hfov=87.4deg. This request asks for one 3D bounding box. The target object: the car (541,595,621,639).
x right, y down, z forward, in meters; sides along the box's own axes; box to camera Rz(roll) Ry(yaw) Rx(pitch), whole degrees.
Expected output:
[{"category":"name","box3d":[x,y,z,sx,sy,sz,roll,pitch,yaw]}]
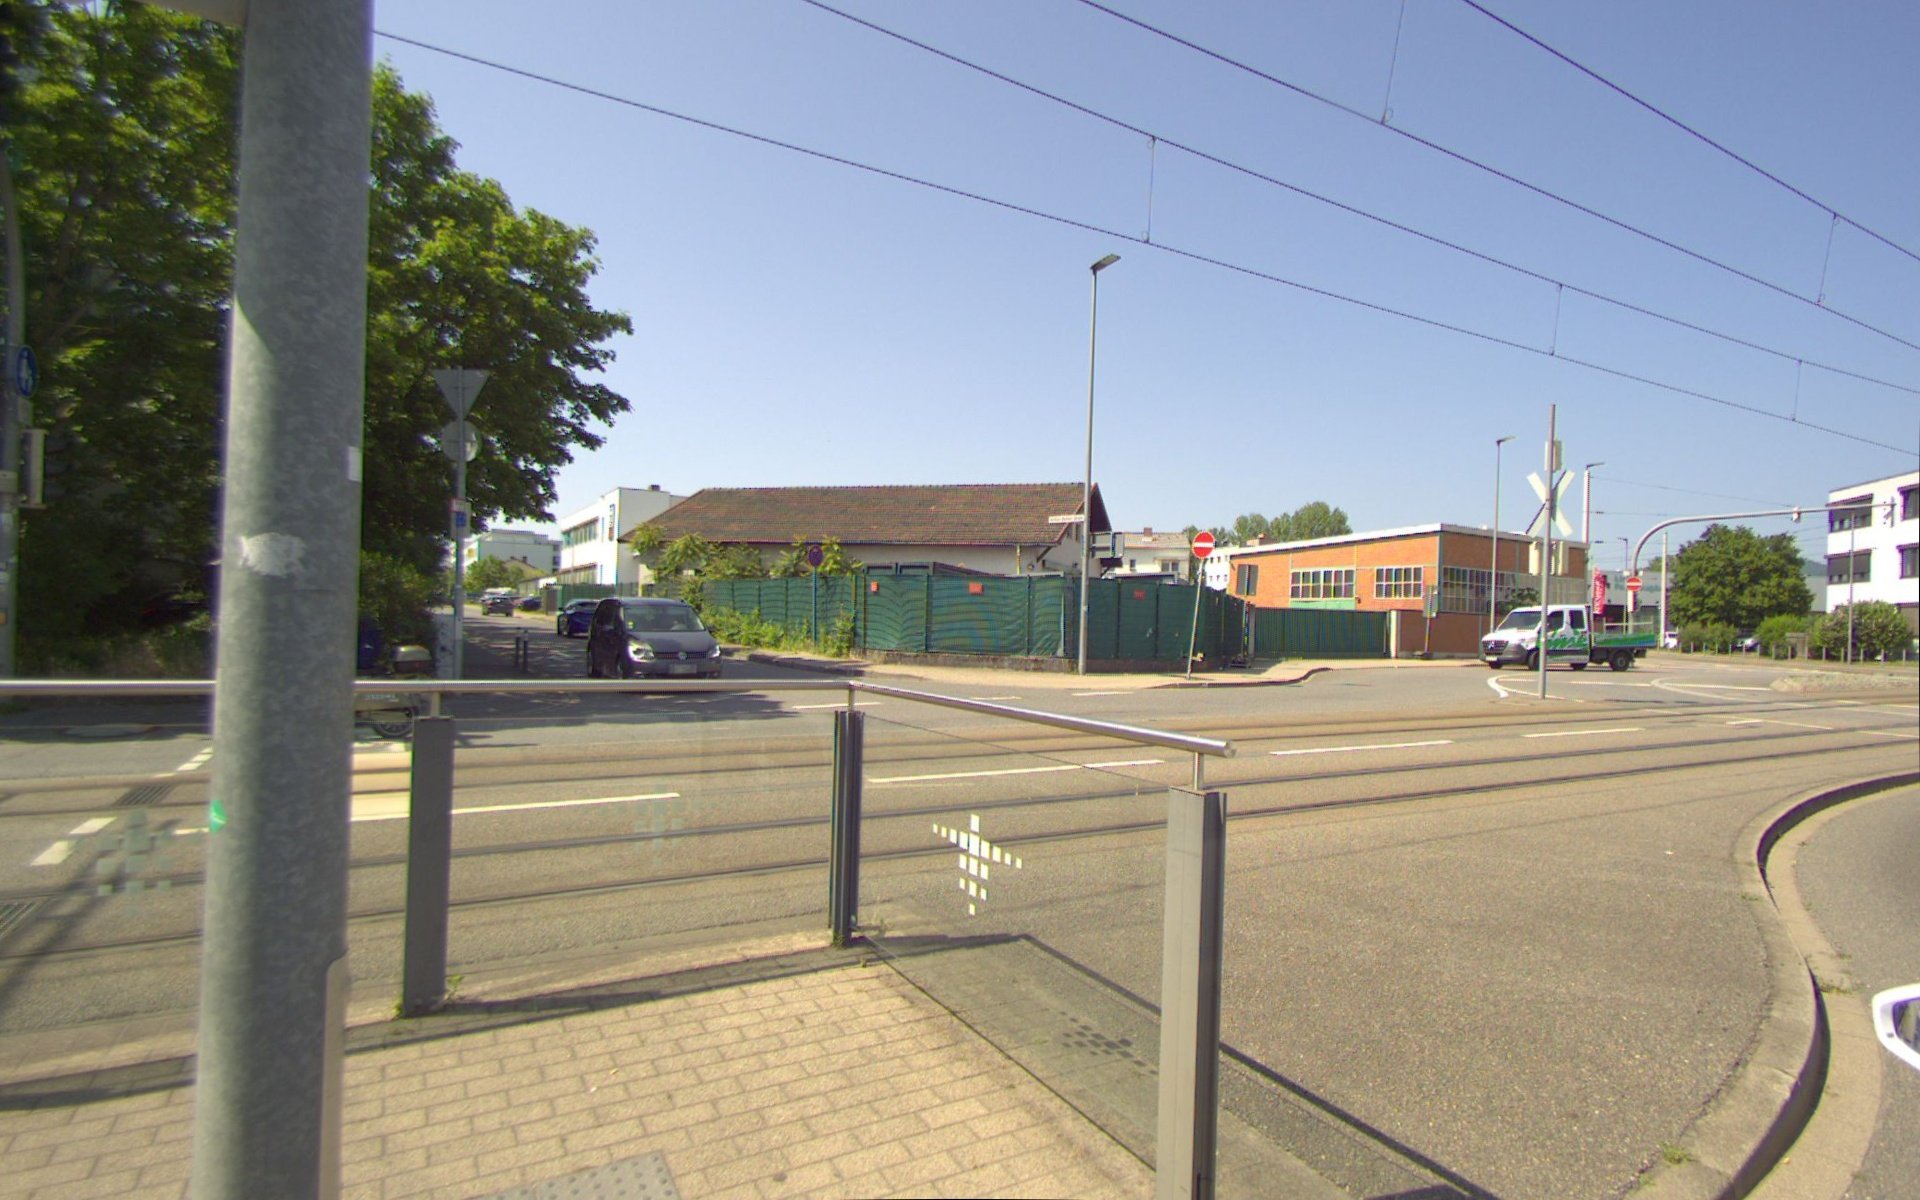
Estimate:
[{"category":"car","box3d":[-14.492,0.636,38.304,1.790,1.557,4.118,2,-1,-37]}]

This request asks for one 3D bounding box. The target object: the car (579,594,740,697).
[{"category":"car","box3d":[-5.698,0.758,18.675,1.911,1.604,4.157,2,0,-30]}]

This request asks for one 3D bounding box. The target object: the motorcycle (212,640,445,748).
[{"category":"motorcycle","box3d":[-6.504,0.947,10.492,1.937,1.024,0.820,2,-1,-25]}]

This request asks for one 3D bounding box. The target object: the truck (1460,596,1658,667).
[{"category":"truck","box3d":[21.364,1.126,35.884,6.279,2.368,2.204,1,-1,-13]}]

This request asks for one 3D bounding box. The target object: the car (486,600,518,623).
[{"category":"car","box3d":[-32.963,0.810,72.229,1.784,1.623,3.970,1,-1,-29]}]

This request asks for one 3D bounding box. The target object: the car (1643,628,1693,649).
[{"category":"car","box3d":[58.631,3.214,83.299,1.959,1.683,4.003,0,-3,12]}]

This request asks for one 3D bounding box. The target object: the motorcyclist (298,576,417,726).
[{"category":"motorcyclist","box3d":[-6.321,0.520,10.591,0.950,1.495,0.833,1,-1,-25]}]

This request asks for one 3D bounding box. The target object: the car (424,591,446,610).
[{"category":"car","box3d":[-58.278,0.100,111.571,1.889,2.040,3.976,2,-1,-24]}]
